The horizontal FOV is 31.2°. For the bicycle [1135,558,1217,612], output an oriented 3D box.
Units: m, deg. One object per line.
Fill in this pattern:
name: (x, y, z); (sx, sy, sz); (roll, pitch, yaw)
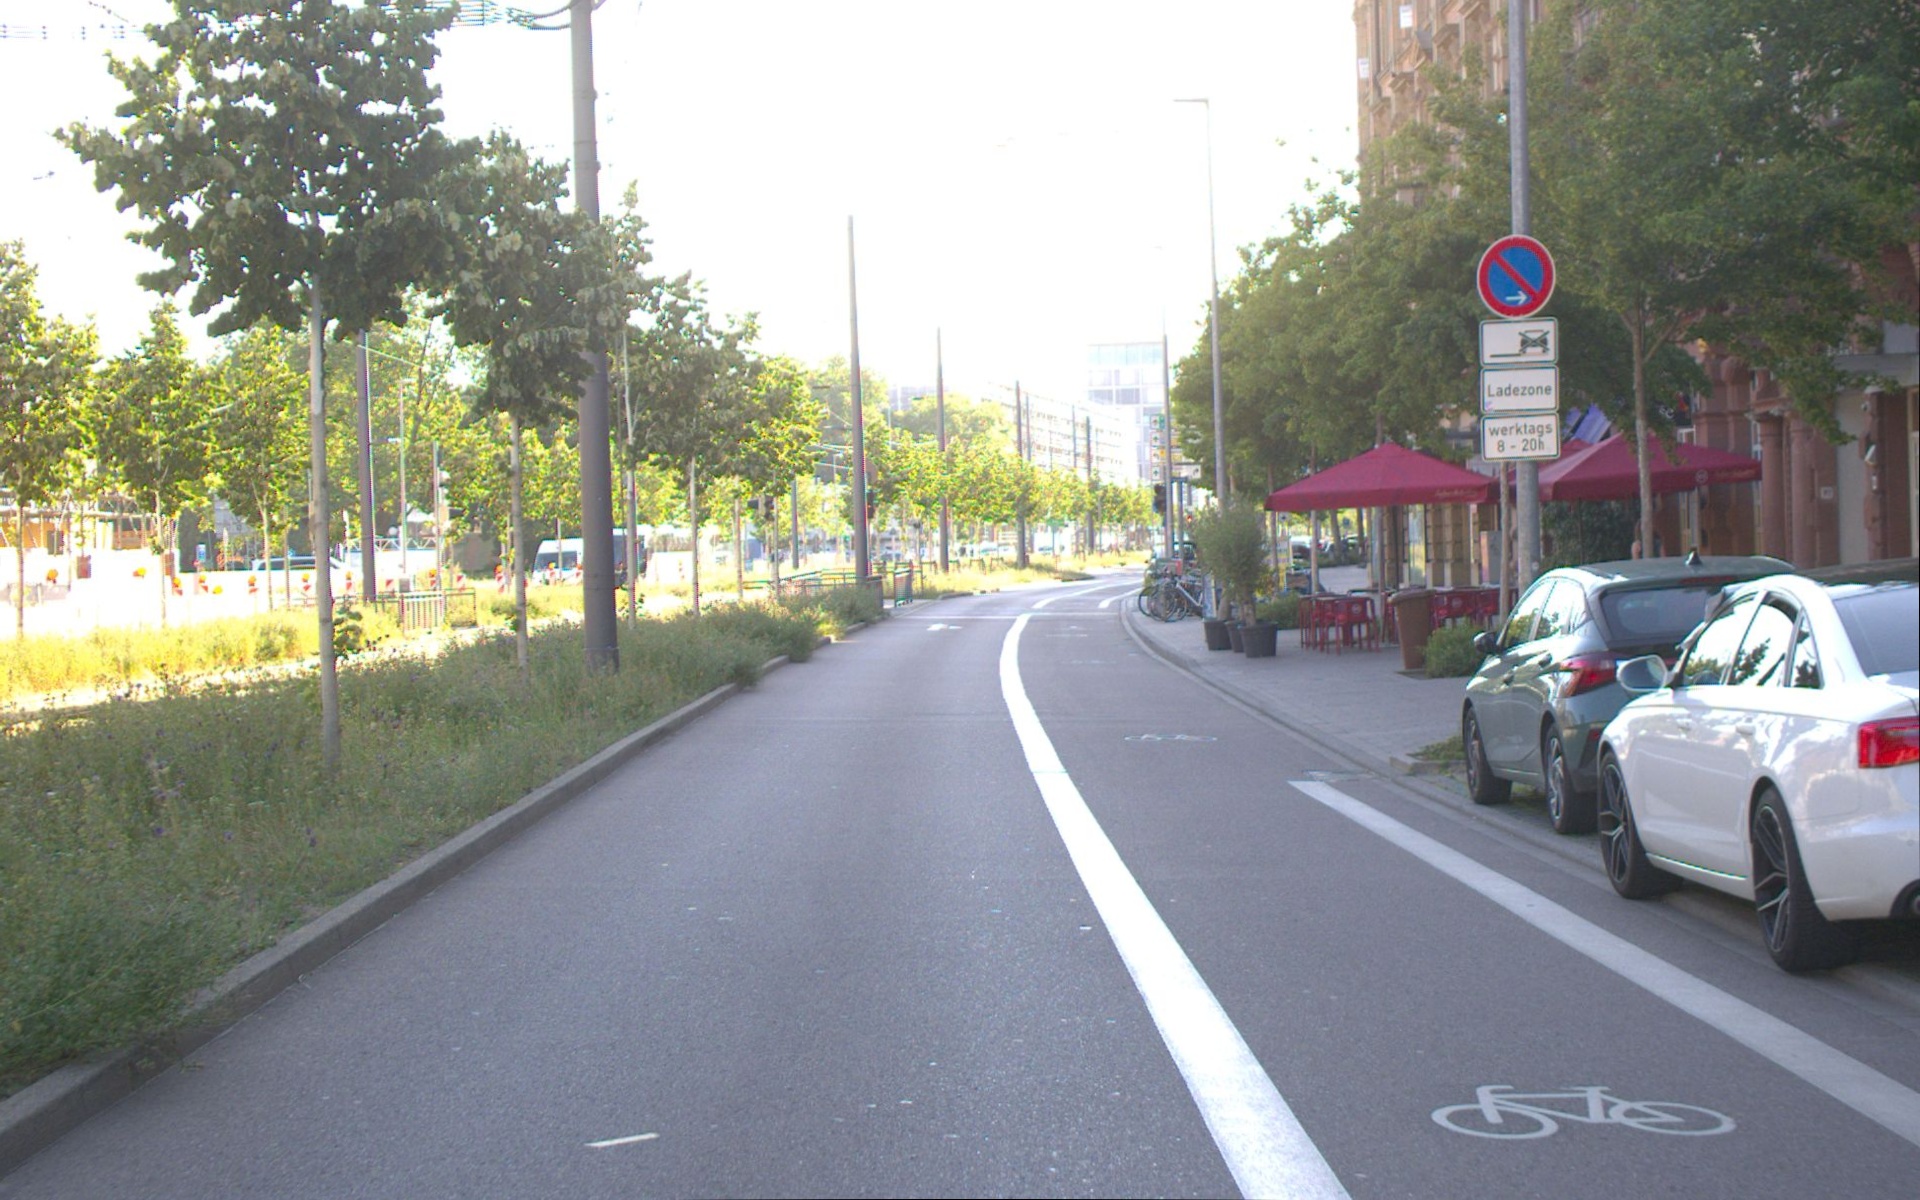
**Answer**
bicycle: (4.871, -0.347, 77.588); (1.754, 1.100, 0.507); (-4, 1, 6)

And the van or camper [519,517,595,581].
van or camper: (-17.037, -2.199, 145.810); (2.221, 2.501, 7.201); (-3, 1, 0)

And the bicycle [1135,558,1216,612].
bicycle: (4.898, -0.348, 78.144); (1.754, 1.100, 0.507); (-4, 1, 6)

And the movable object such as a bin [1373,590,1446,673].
movable object such as a bin: (5.302, 0.372, 40.557); (0.676, 0.921, 0.560); (-4, -1, 21)

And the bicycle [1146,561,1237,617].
bicycle: (4.834, -0.228, 71.698); (1.805, 1.044, 0.566); (-4, 1, 6)

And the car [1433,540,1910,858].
car: (4.001, 0.479, 20.048); (1.849, 1.559, 4.297); (-3, 1, 1)

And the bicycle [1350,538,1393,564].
bicycle: (18.772, -2.250, 156.937); (1.899, 1.089, 0.392); (-2, 0, 2)

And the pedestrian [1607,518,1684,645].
pedestrian: (8.543, -0.231, 42.872); (0.728, 1.528, 0.797); (-3, 1, 0)

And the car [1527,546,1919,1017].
car: (3.738, 0.555, 13.927); (1.848, 1.449, 5.253); (-3, 1, -1)
